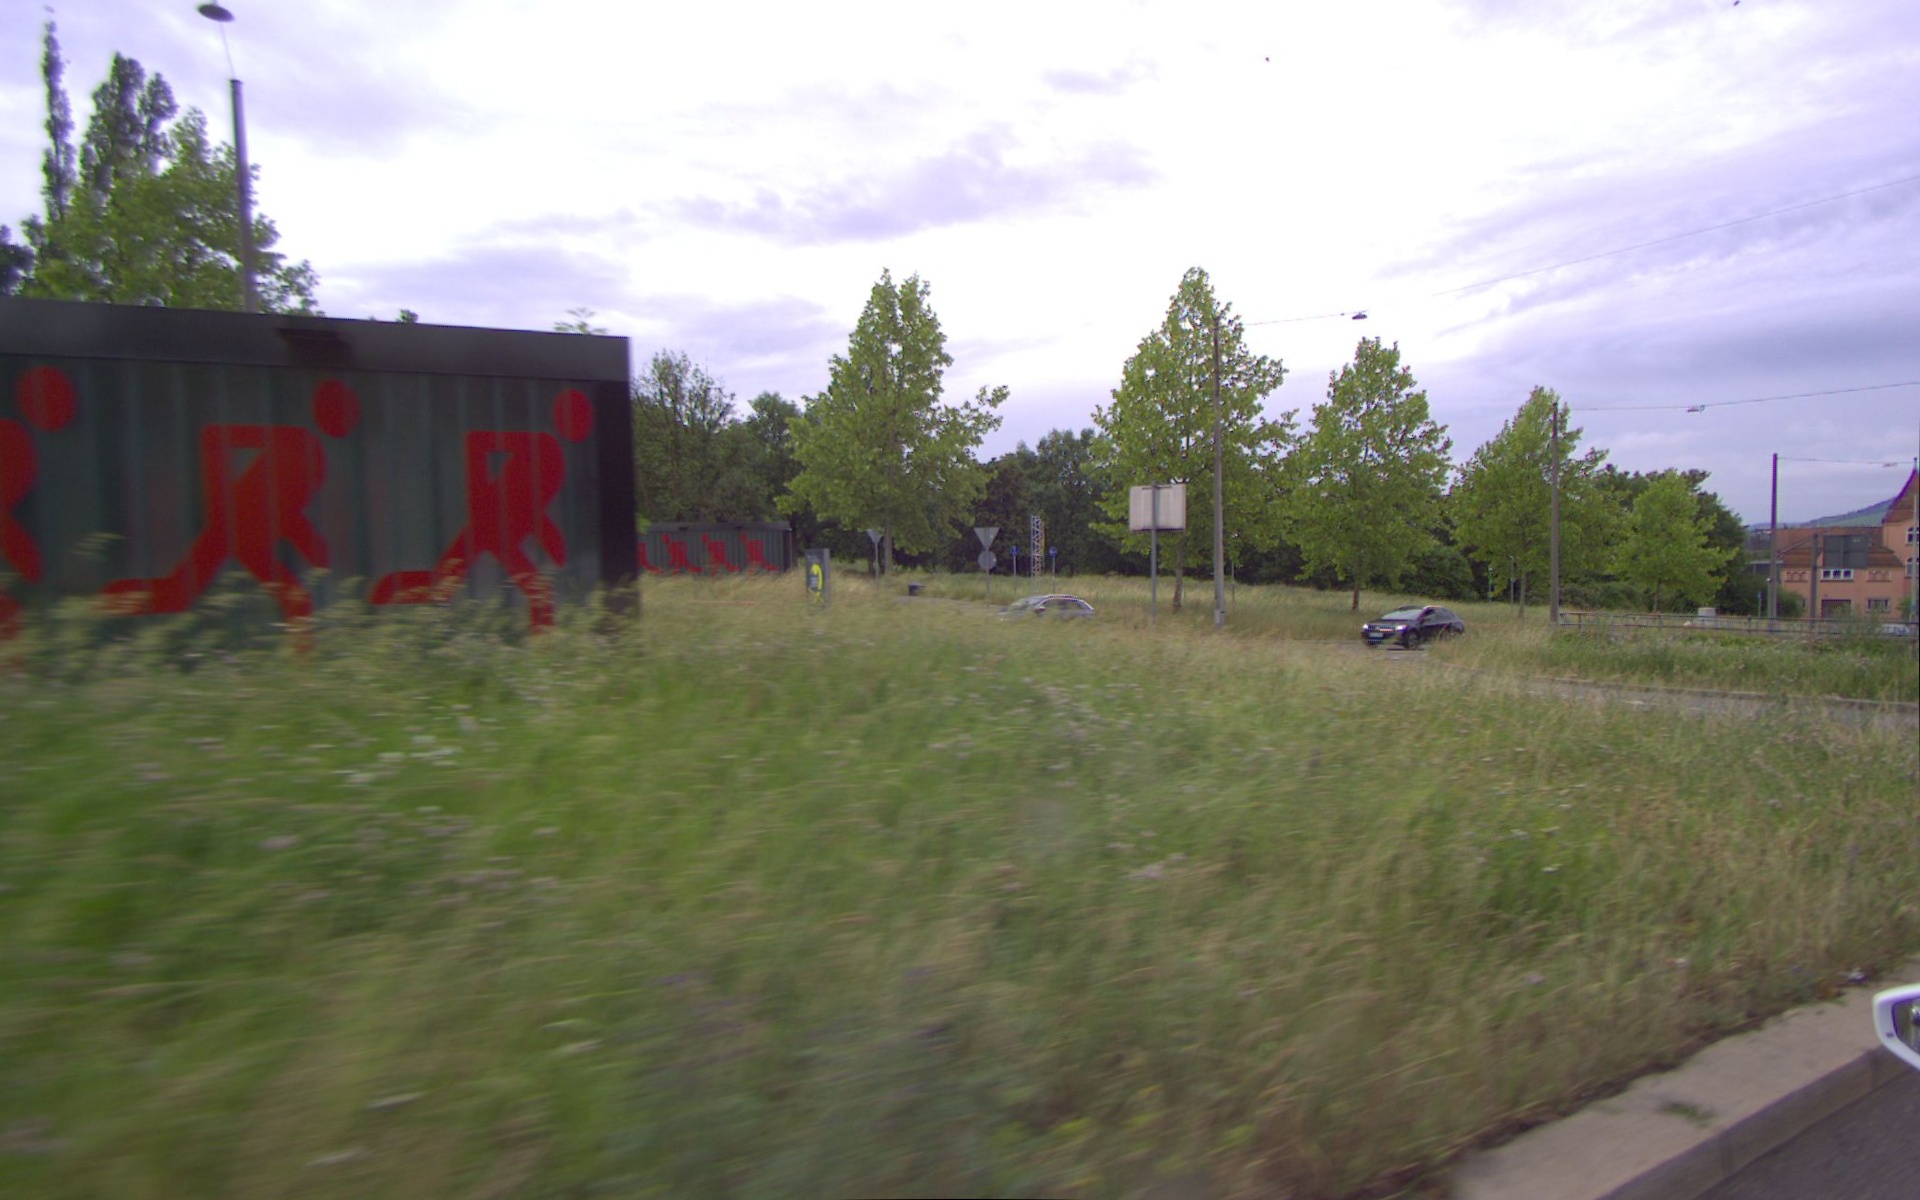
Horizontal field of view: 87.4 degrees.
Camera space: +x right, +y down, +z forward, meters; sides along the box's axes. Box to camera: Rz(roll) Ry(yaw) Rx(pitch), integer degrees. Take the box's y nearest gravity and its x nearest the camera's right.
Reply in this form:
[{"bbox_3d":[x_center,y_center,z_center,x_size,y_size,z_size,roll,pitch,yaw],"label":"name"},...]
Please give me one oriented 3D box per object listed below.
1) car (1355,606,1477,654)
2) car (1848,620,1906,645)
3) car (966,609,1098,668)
[{"bbox_3d":[15.888,1.020,34.963,4.385,1.548,1.648,1,2,-31],"label":"car"},{"bbox_3d":[63.571,2.258,69.631,3.927,1.663,1.881,1,0,-31],"label":"car"},{"bbox_3d":[2.220,1.149,30.530,3.753,1.595,1.646,1,3,-35],"label":"car"}]
